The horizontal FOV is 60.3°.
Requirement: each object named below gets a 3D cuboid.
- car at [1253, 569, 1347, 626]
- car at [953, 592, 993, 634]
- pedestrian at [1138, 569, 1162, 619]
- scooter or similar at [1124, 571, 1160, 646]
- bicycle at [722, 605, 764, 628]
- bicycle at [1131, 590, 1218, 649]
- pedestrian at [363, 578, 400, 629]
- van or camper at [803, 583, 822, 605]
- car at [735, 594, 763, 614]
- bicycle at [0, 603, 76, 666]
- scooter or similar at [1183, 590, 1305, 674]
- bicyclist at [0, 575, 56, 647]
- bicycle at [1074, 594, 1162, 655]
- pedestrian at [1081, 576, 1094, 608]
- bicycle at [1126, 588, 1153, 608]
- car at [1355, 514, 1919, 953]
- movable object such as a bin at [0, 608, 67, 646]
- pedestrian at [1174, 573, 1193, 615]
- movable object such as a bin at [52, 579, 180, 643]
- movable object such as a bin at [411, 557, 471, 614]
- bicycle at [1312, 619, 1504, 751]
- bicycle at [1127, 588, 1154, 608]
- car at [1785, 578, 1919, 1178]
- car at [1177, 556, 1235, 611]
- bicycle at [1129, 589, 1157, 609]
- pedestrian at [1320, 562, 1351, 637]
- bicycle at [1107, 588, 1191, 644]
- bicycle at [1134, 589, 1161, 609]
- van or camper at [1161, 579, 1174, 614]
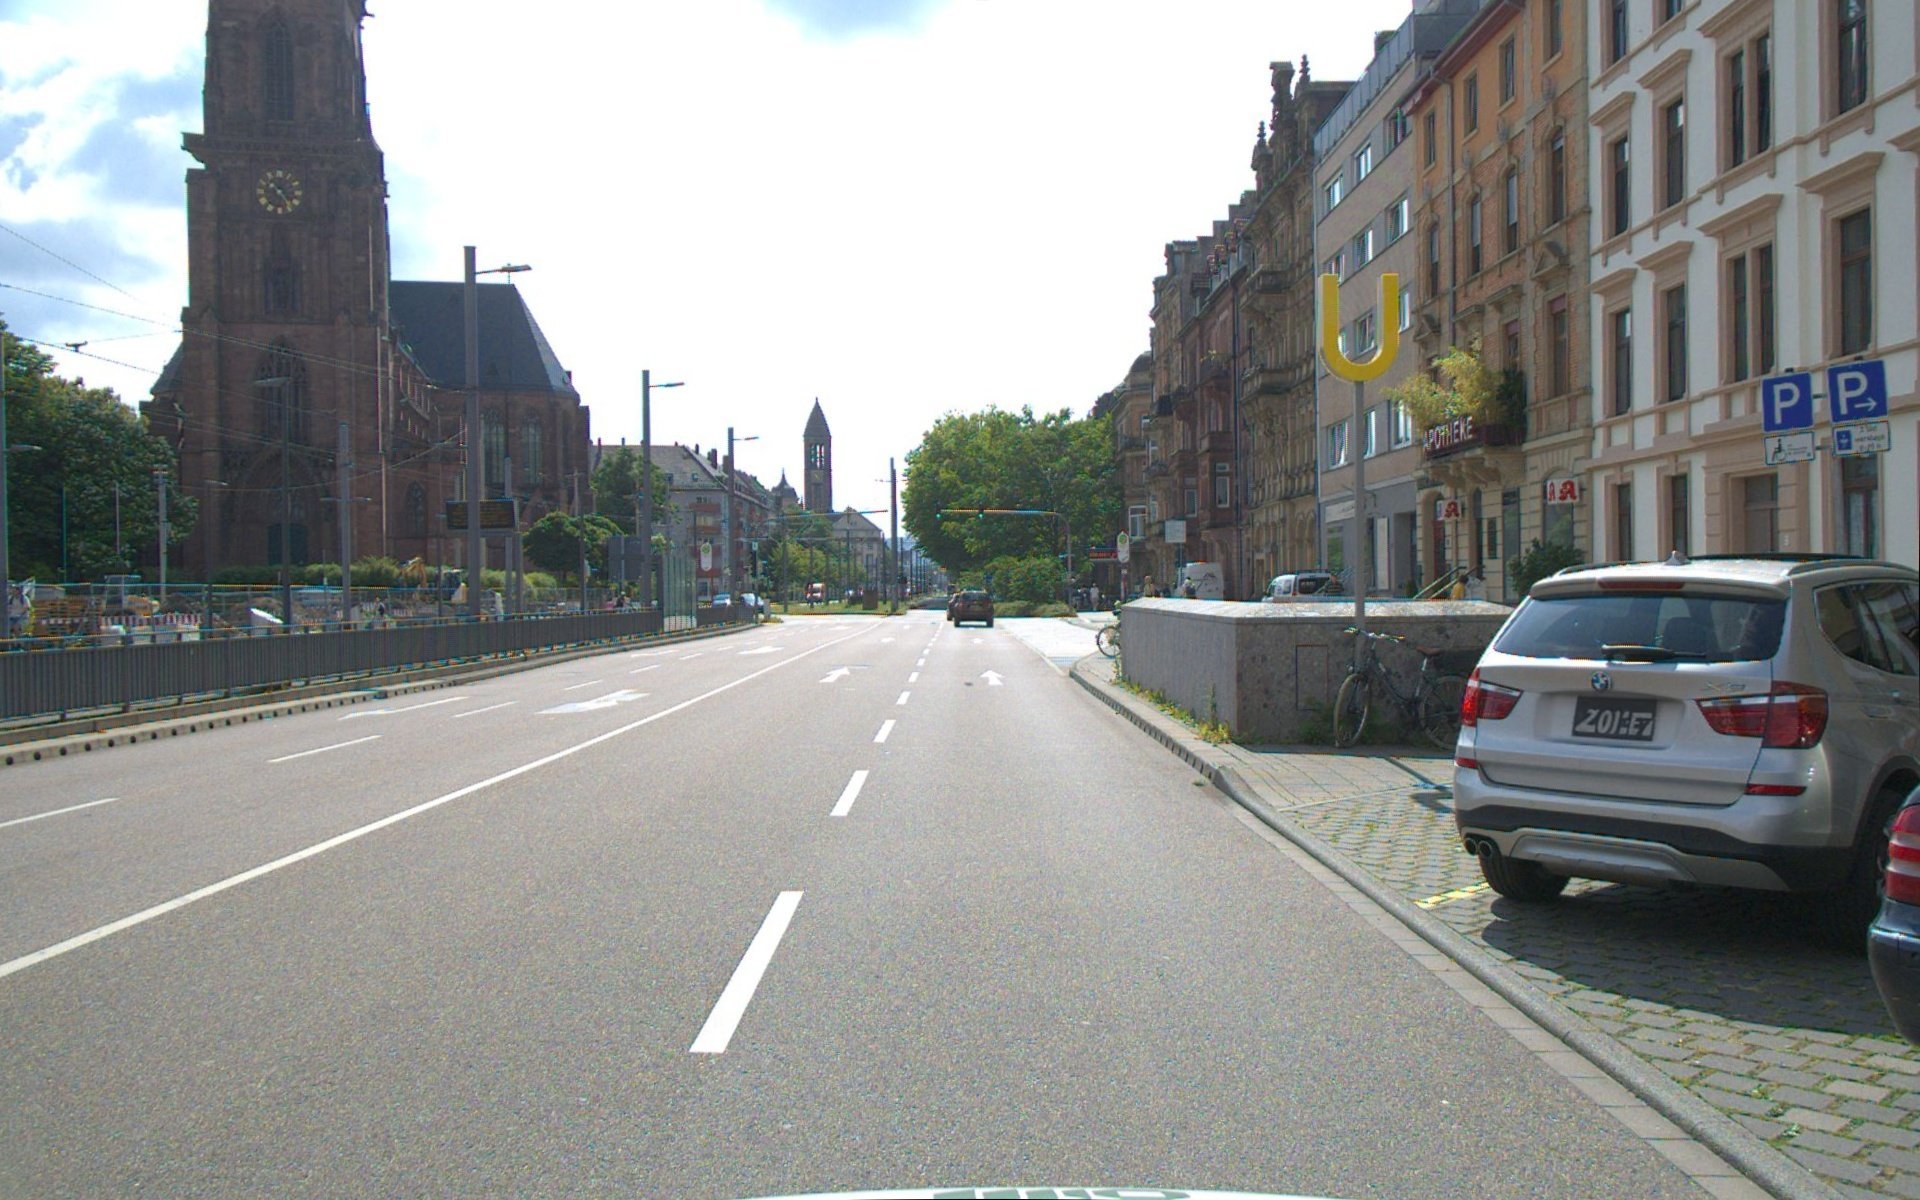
[{"bbox_3d":[12.078,-0.065,59.119,1.955,1.894,4.747,-1,0,-5],"label":"car"},{"bbox_3d":[0.574,0.571,76.277,1.655,1.741,3.608,-1,2,-2],"label":"car"},{"bbox_3d":[7.425,-0.245,64.704,0.652,1.936,0.691,-1,0,-18],"label":"pedestrian"},{"bbox_3d":[4.507,0.206,41.073,0.390,1.818,1.533,-1,0,-13],"label":"scooter or similar"},{"bbox_3d":[-11.244,0.859,85.680,1.975,1.146,0.932,-1,0,10],"label":"bicycle"},{"bbox_3d":[4.840,0.437,37.279,1.889,1.259,0.440,-1,2,-11],"label":"bicycle"},{"bbox_3d":[-23.426,0.135,67.015,1.043,2.049,1.051,-1,0,3],"label":"pedestrian"},{"bbox_3d":[-19.900,-0.801,223.431,2.211,2.785,6.199,-1,0,-3],"label":"van or camper"},{"bbox_3d":[-15.821,0.298,124.079,1.878,1.442,3.737,-1,0,-5],"label":"car"},{"bbox_3d":[-23.236,0.829,40.594,1.169,1.452,3.692,-1,0,-2],"label":"bicycle"},{"bbox_3d":[5.529,0.615,32.294,2.275,1.572,0.698,-1,2,5],"label":"scooter or similar"},{"bbox_3d":[-23.248,0.266,40.640,1.154,1.713,1.684,-1,0,-2],"label":"bicyclist"},{"bbox_3d":[3.484,0.532,36.432,1.891,1.259,0.440,-1,2,-14],"label":"bicycle"},{"bbox_3d":[8.266,-0.491,107.071,0.752,2.049,0.715,-1,0,1],"label":"pedestrian"},{"bbox_3d":[11.756,-0.114,108.579,1.732,1.290,0.467,-1,2,3],"label":"bicycle"},{"bbox_3d":[4.217,0.468,8.615,4.559,1.676,2.029,-2,1,-43],"label":"car"},{"bbox_3d":[-40.480,1.140,71.484,1.959,1.529,5.138,-1,0,-13],"label":"movable object such as a bin"},{"bbox_3d":[9.971,-0.268,73.795,0.650,1.868,0.693,-1,0,-6],"label":"pedestrian"},{"bbox_3d":[-40.623,0.520,79.667,5.040,2.962,1.997,-1,0,-7],"label":"movable object such as a bin"},{"bbox_3d":[-30.138,-0.858,96.200,1.951,3.159,4.003,-1,2,4],"label":"movable object such as a bin"},{"bbox_3d":[4.249,0.803,15.756,1.599,1.114,0.612,3,2,-2],"label":"bicycle"},{"bbox_3d":[11.775,-0.116,107.954,1.732,1.290,0.467,-1,2,3],"label":"bicycle"},{"bbox_3d":[4.508,0.676,5.083,4.557,1.486,1.911,0,0,-40],"label":"car"},{"bbox_3d":[12.090,-0.812,81.602,1.953,2.569,5.888,-1,0,0],"label":"car"},{"bbox_3d":[11.851,-0.058,107.153,1.732,1.290,0.467,-1,2,3],"label":"bicycle"},{"bbox_3d":[10.873,-0.023,47.933,0.706,2.135,0.786,-1,2,0],"label":"pedestrian"},{"bbox_3d":[4.509,0.370,39.507,1.943,1.259,0.440,-1,2,-12],"label":"bicycle"},{"bbox_3d":[11.964,-0.063,105.702,1.709,1.290,0.467,-1,2,3],"label":"bicycle"},{"bbox_3d":[12.142,-0.198,96.966,0.652,2.049,0.638,-1,0,0],"label":"van or camper"}]
